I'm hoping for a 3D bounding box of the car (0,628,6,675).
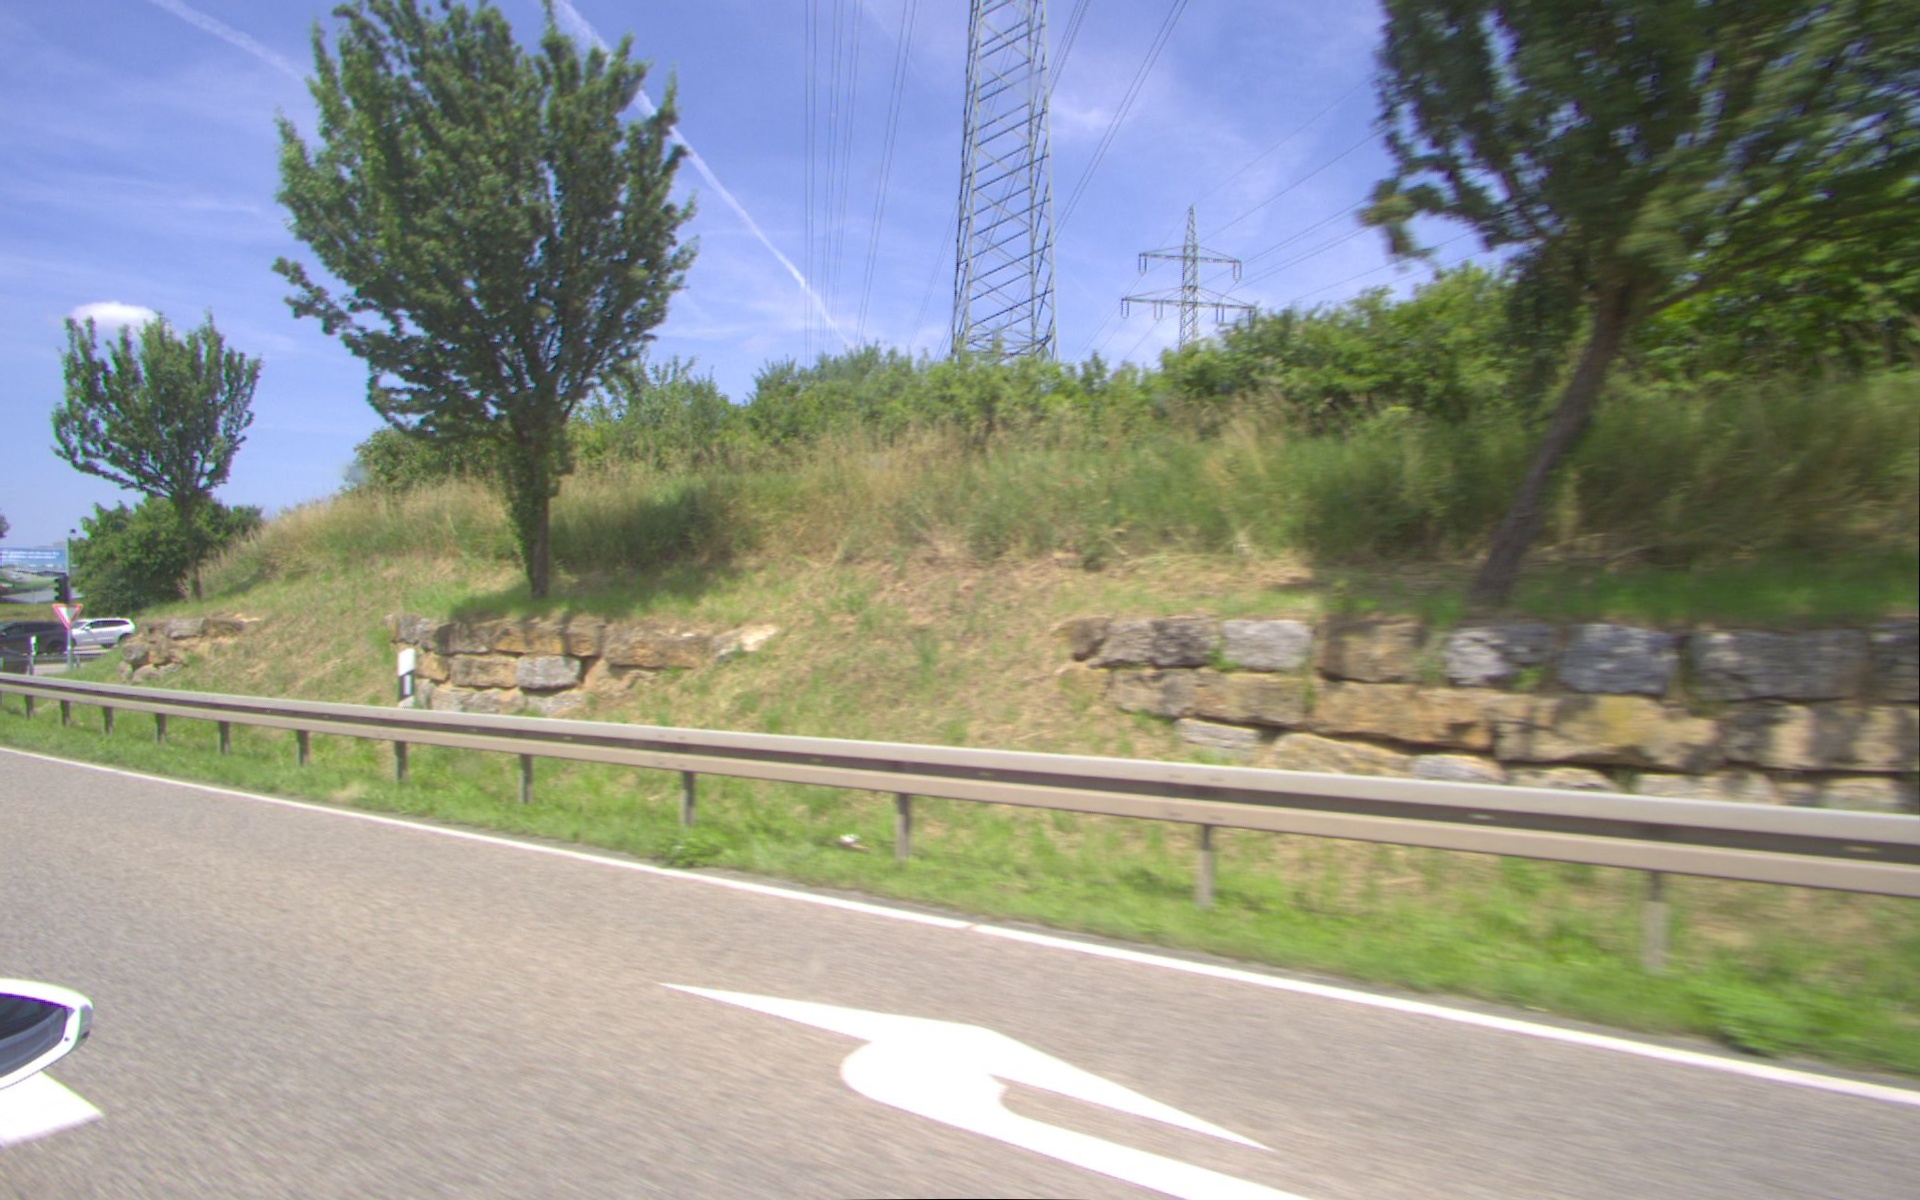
[{"bbox_3d":[-31.759,1.638,31.307,1.726,1.552,4.279,0,-2,-29],"label":"car"}]

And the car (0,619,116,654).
[{"bbox_3d":[-43.260,1.715,47.694,1.687,1.530,4.361,-1,-1,22],"label":"car"}]

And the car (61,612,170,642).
[{"bbox_3d":[-47.214,1.490,56.074,1.751,1.613,4.360,-1,-1,24],"label":"car"}]
